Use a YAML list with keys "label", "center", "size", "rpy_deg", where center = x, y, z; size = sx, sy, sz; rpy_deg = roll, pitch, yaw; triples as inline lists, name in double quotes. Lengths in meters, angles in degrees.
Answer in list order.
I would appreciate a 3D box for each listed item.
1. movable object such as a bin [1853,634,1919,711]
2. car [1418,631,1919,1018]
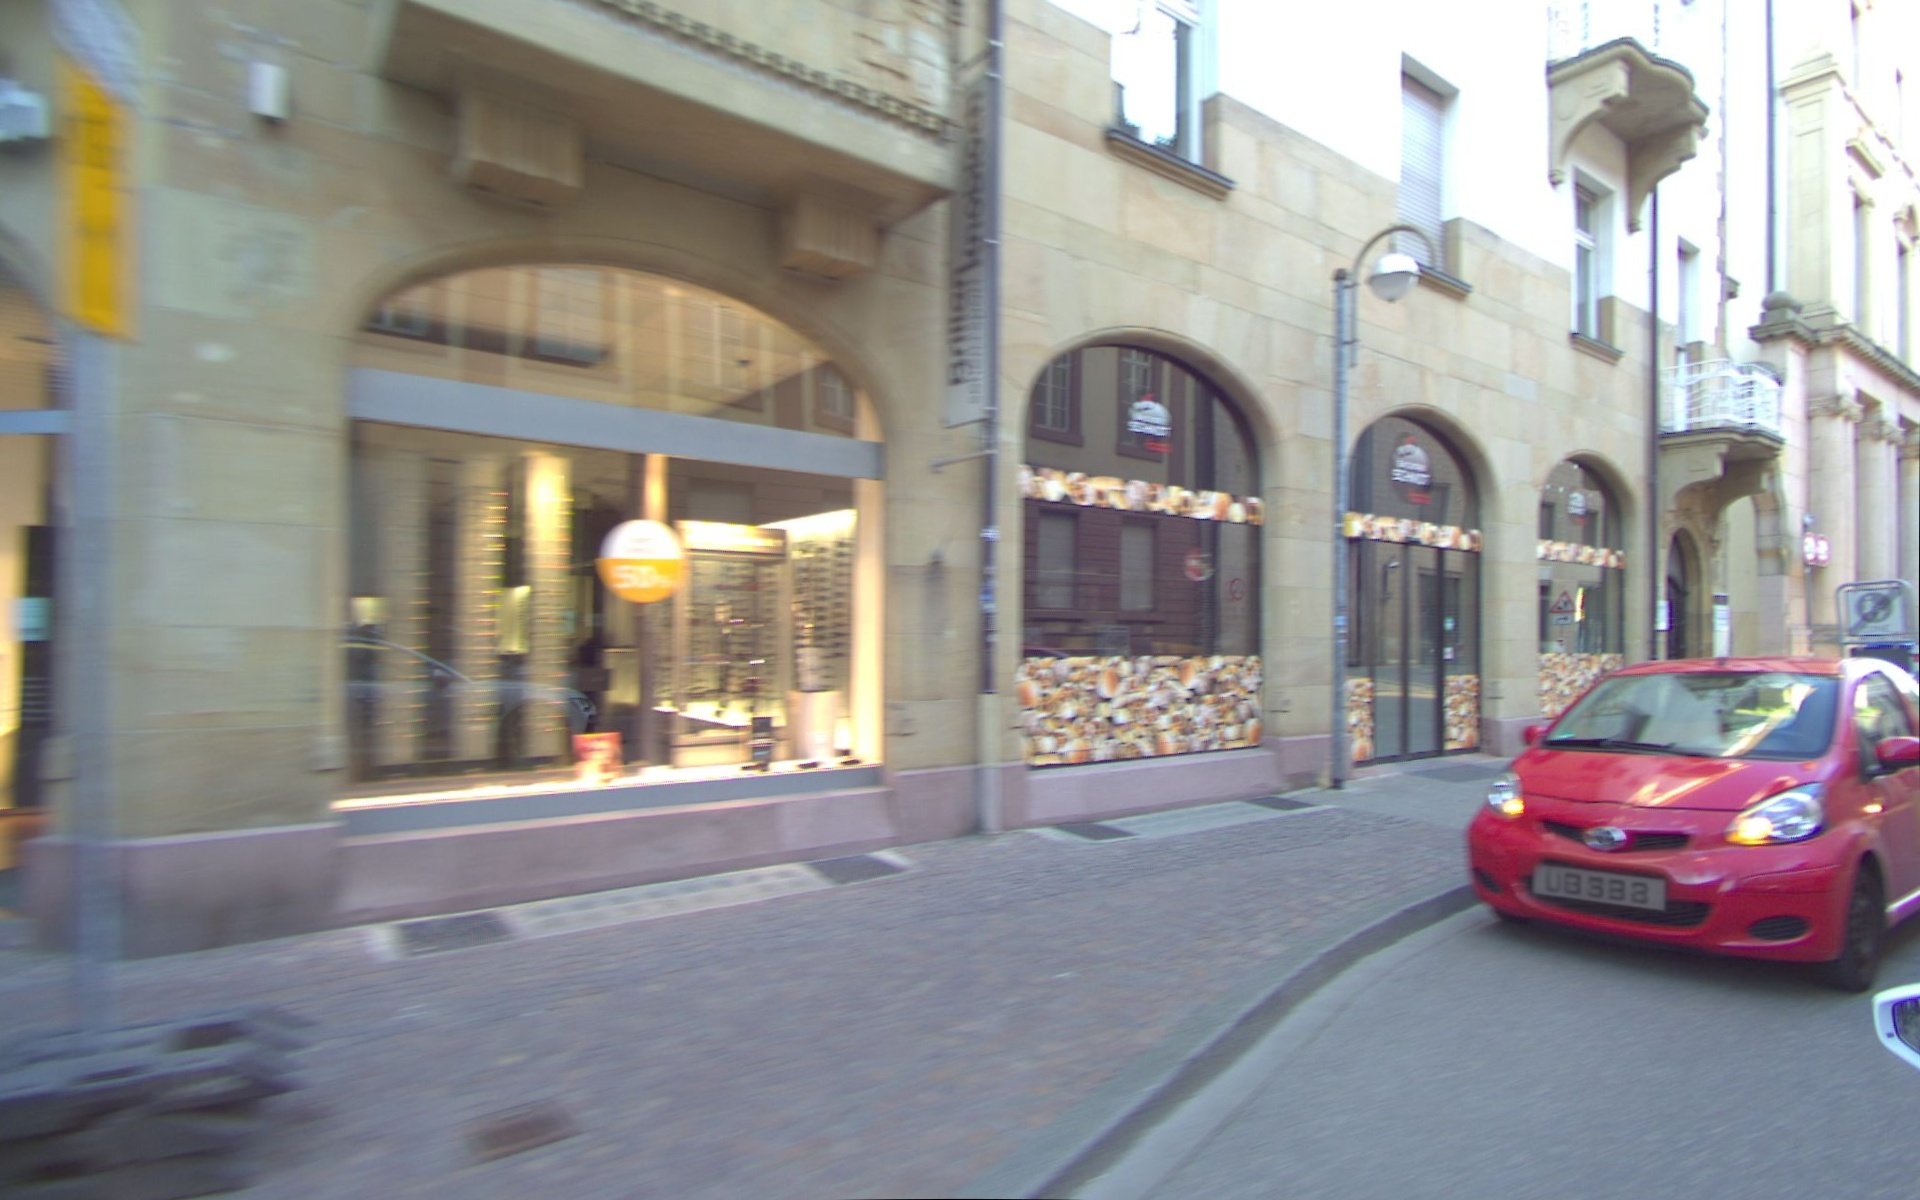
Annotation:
- label: "movable object such as a bin"
  center: [19.029, 1.458, 20.592]
  size: [1.278, 1.523, 0.823]
  rpy_deg: [1, -1, -36]
- label: "car"
  center: [4.485, 0.998, 5.725]
  size: [3.894, 1.488, 1.647]
  rpy_deg: [2, -6, -36]
